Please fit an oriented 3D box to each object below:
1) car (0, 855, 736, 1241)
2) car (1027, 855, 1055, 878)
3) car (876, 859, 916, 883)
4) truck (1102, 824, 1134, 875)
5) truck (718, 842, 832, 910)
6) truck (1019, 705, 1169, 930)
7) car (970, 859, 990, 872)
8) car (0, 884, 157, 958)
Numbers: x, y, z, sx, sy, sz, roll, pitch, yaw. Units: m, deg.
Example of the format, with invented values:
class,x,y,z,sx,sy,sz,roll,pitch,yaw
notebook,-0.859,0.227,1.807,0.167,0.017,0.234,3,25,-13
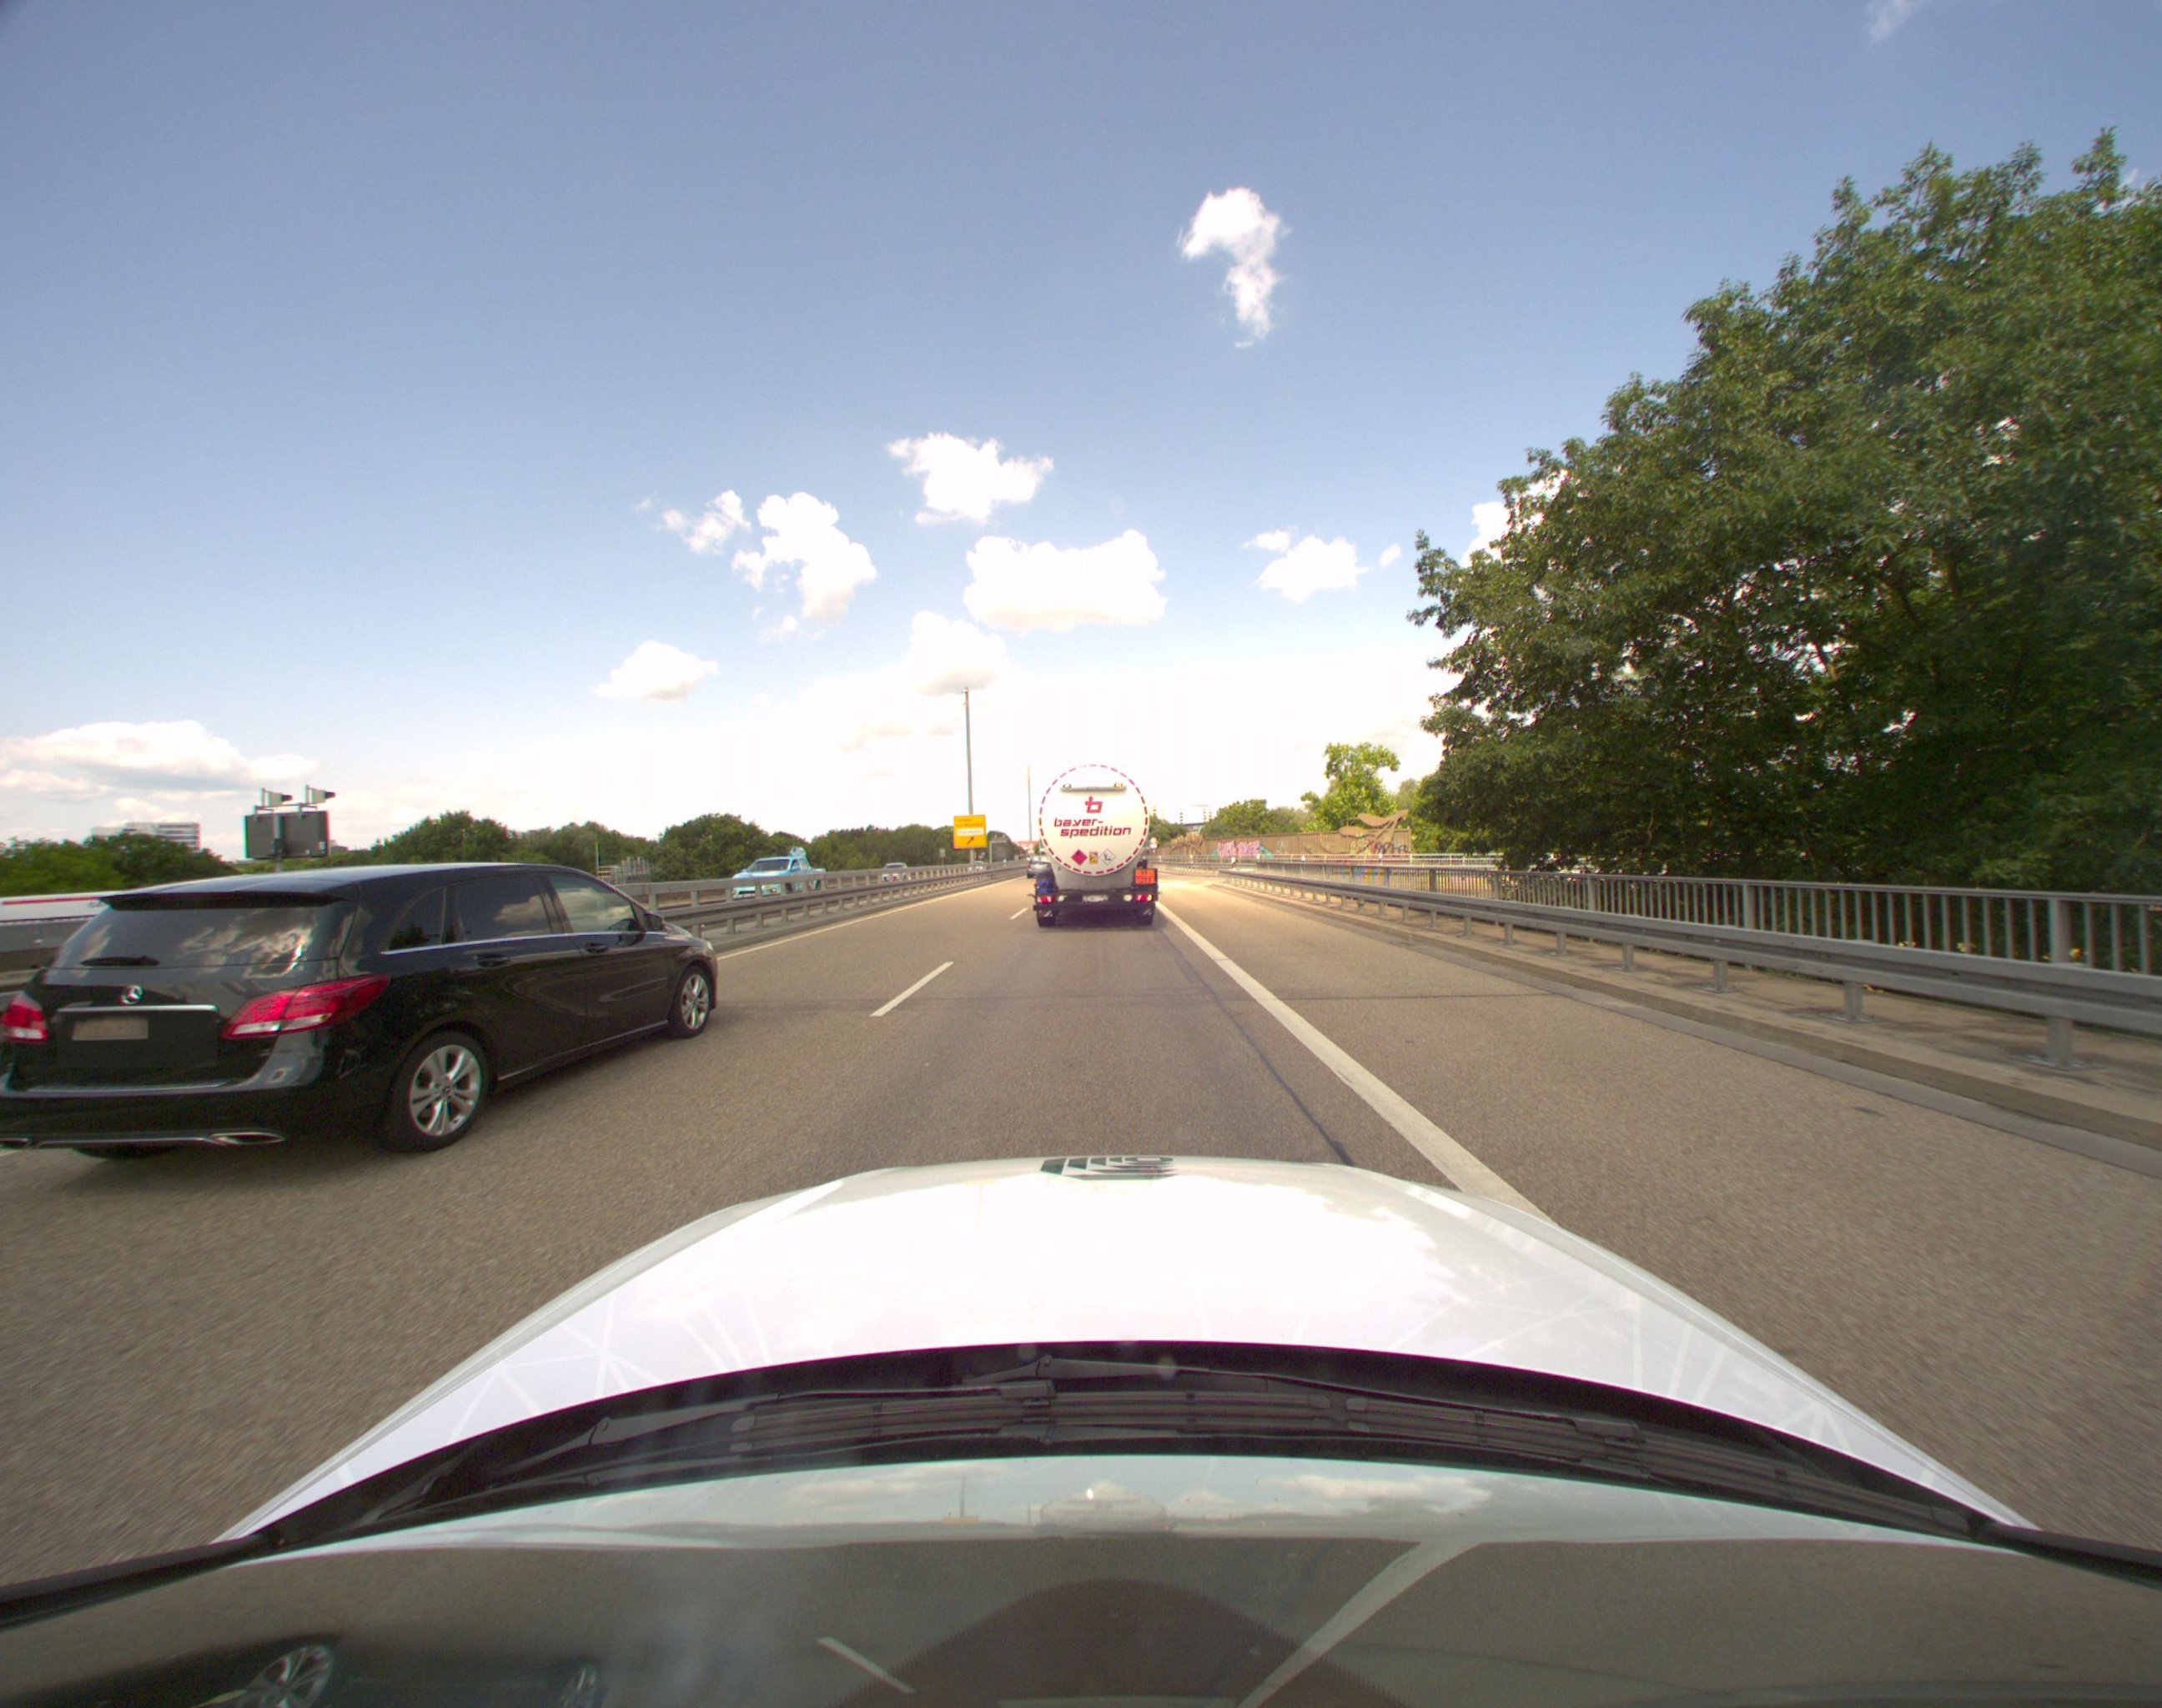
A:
class,x,y,z,sx,sy,sz,roll,pitch,yaw
car,-4.234,0.782,5.556,1.705,1.527,4.594,-1,0,1
car,-2.855,0.849,58.580,1.741,1.531,4.001,-2,0,1
car,-12.946,1.170,57.180,1.896,1.529,4.241,-1,0,-1
truck,3.566,-0.458,81.209,2.885,4.808,8.029,-1,0,1
truck,-10.745,0.725,29.062,1.865,2.187,5.191,-1,0,3
truck,0.293,-0.716,19.888,2.885,4.368,8.029,-1,0,1
car,-13.141,1.511,106.419,1.791,1.596,4.714,-3,0,2
car,-30.106,1.893,22.907,1.974,1.898,5.201,-1,0,34
